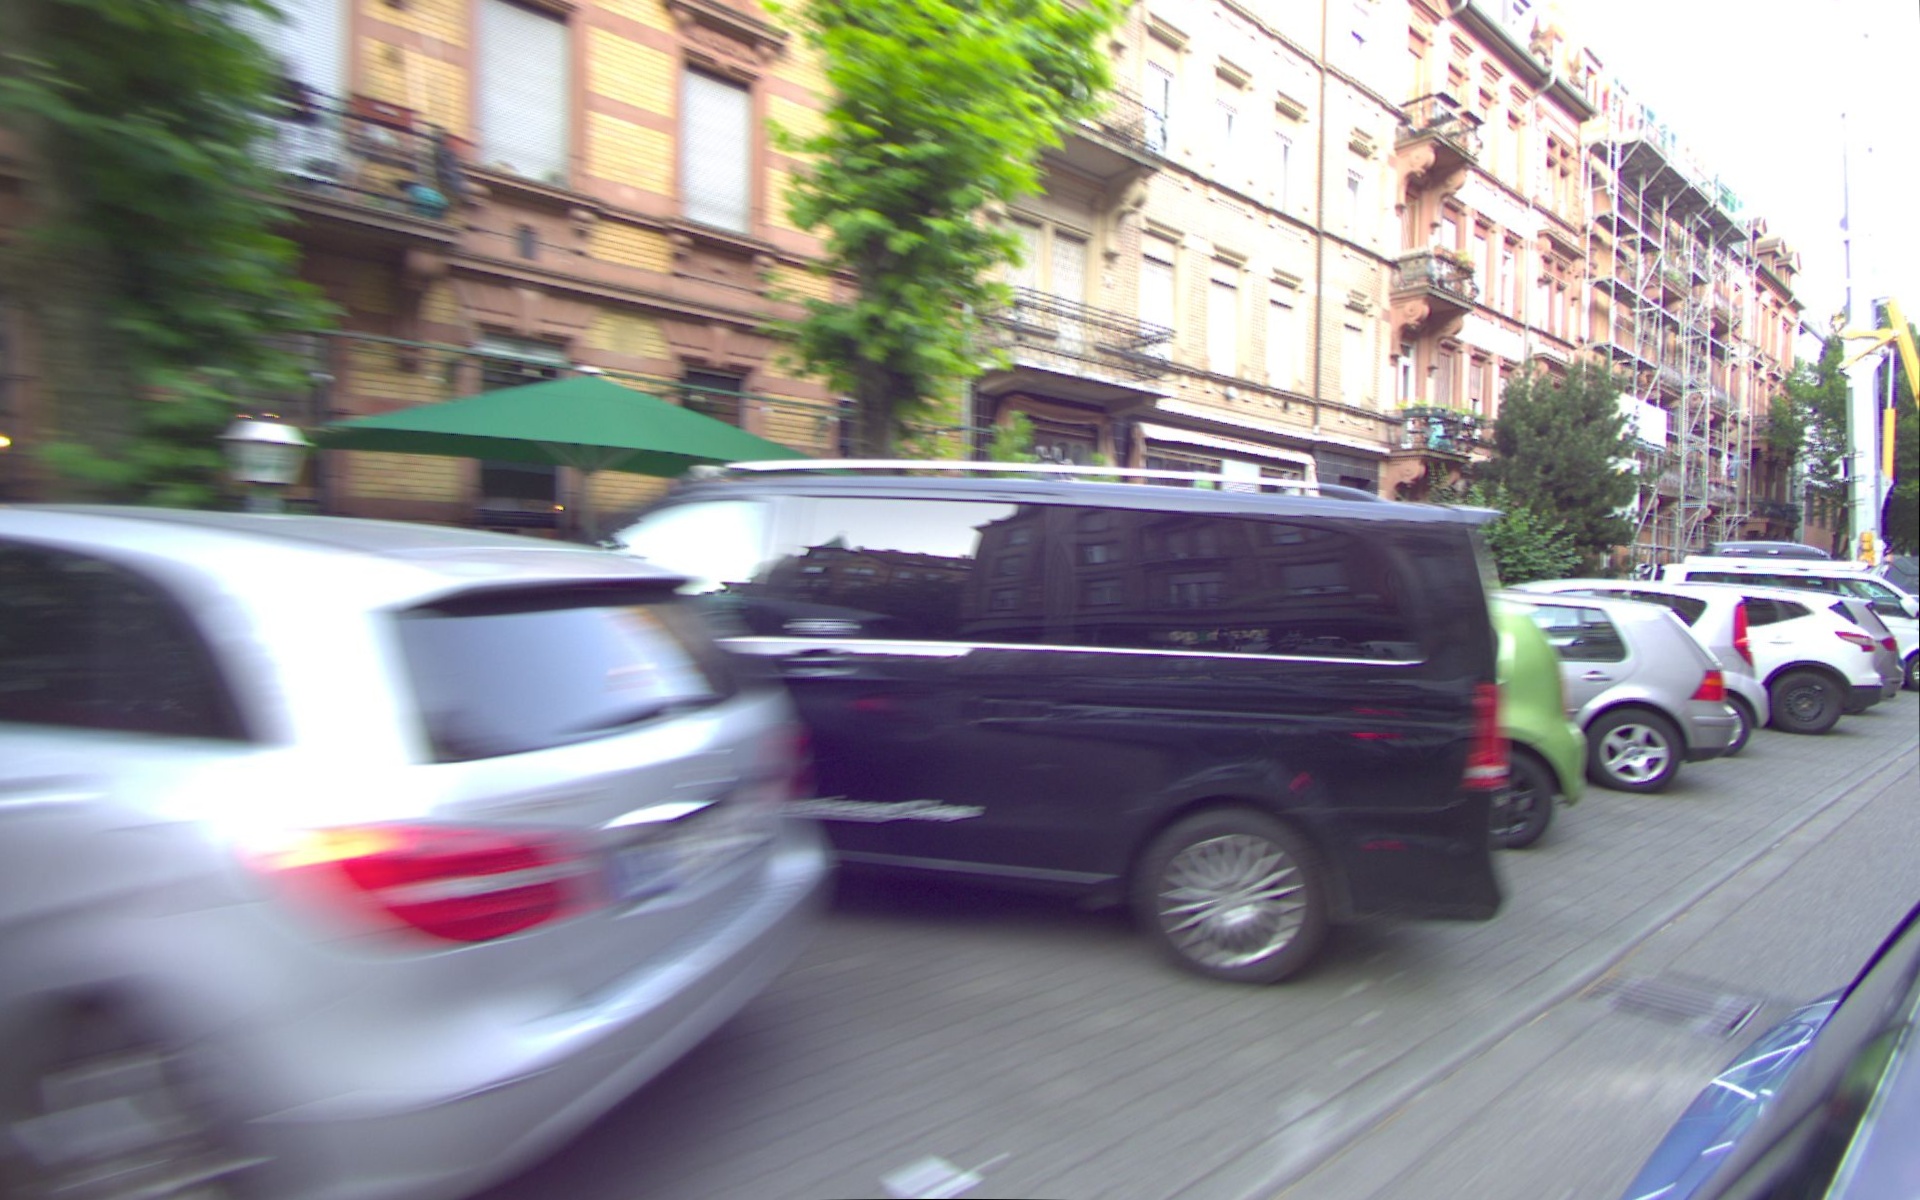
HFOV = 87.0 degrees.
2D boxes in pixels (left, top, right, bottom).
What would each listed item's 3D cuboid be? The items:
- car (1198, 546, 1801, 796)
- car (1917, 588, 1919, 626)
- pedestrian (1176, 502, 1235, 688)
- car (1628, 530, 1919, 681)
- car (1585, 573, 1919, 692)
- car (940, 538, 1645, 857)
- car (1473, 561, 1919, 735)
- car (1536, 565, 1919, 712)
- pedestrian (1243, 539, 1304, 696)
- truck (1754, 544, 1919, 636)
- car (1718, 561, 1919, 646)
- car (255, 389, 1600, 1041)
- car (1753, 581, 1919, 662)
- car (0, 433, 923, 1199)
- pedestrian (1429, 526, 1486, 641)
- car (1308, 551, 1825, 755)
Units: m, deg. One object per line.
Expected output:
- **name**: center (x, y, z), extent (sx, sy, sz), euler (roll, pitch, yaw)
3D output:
- **car**: center (4.227, 0.441, 8.654), extent (4.057, 1.570, 1.808), euler (4, 3, 19)
- **car**: center (40.043, 0.425, 39.148), extent (3.941, 1.506, 1.676), euler (3, 2, 17)
- **pedestrian**: center (2.782, -0.061, 11.477), extent (0.616, 2.039, 0.653), euler (0, 0, 13)
- **car**: center (14.749, 0.051, 17.595), extent (4.887, 2.391, 1.983), euler (2, 1, 25)
- **car**: center (12.460, 0.439, 15.931), extent (4.118, 1.610, 1.872), euler (2, 1, 22)
- **car**: center (2.091, 0.476, 7.109), extent (4.057, 1.570, 1.808), euler (4, 3, 19)
- **car**: center (8.558, 0.456, 12.038), extent (4.058, 1.610, 1.807), euler (4, 3, 20)
- **car**: center (10.594, 0.448, 14.080), extent (4.115, 1.610, 1.874), euler (4, 2, 20)
- **pedestrian**: center (3.501, 0.189, 11.334), extent (0.616, 1.702, 0.652), euler (0, 0, 16)
- **truck**: center (32.510, -0.354, 35.830), extent (2.477, 3.115, 6.499), euler (-1, 1, -36)
- **car**: center (23.988, 0.075, 27.399), extent (1.865, 1.979, 5.186), euler (1, 3, -40)
- **car**: center (-0.347, 0.239, 4.915), extent (5.355, 2.097, 1.927), euler (4, 2, 13)
- **car**: center (19.077, 0.440, 20.916), extent (3.827, 1.535, 1.832), euler (2, 1, 25)
- **car**: center (-2.416, 0.428, 3.044), extent (4.168, 1.642, 1.923), euler (4, 3, 17)
- **pedestrian**: center (7.976, -0.283, 16.214), extent (0.681, 1.771, 0.818), euler (4, 4, 31)
- **car**: center (5.859, 0.418, 10.360), extent (4.047, 1.610, 1.812), euler (4, 2, 13)
